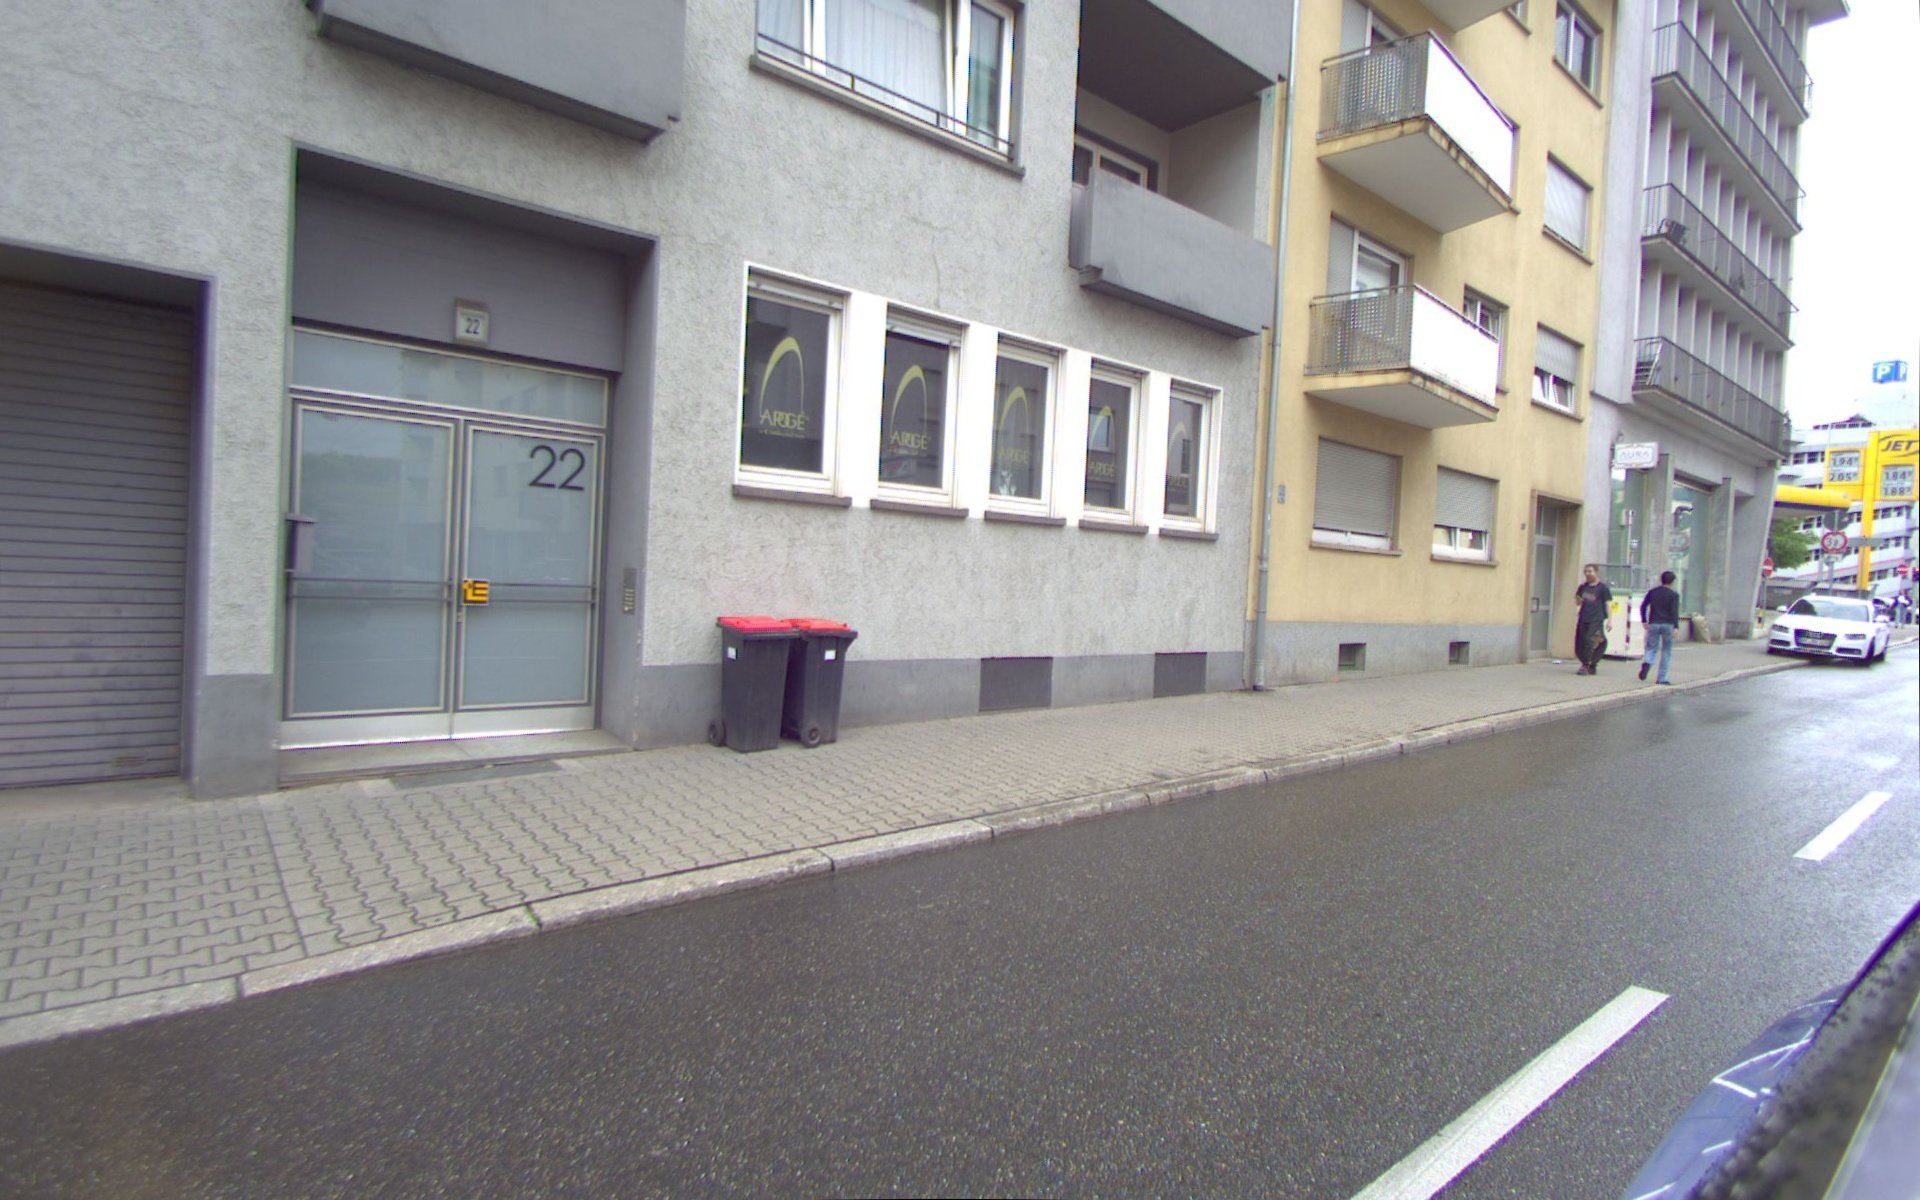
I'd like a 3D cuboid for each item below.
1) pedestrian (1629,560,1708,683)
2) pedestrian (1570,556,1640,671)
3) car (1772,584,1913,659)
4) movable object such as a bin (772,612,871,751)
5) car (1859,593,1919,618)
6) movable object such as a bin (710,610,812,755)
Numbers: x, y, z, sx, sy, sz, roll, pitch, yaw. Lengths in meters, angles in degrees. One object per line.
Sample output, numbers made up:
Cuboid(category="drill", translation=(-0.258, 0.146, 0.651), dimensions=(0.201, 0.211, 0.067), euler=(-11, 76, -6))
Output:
Cuboid(category="pedestrian", translation=(10.933, 0.311, 15.619), dimensions=(1.038, 1.799, 0.644), euler=(0, 5, -41))
Cuboid(category="pedestrian", translation=(10.412, 0.195, 16.340), dimensions=(0.873, 1.777, 0.678), euler=(0, 3, -42))
Cuboid(category="car", translation=(20.121, 0.423, 23.013), dimensions=(4.093, 1.453, 1.803), euler=(0, 4, -41))
Cuboid(category="movable object such as a bin", translation=(-1.070, 0.604, 7.792), dimensions=(0.506, 0.961, 0.541), euler=(0, 5, -40))
Cuboid(category="car", translation=(55.308, 0.300, 58.981), dimensions=(1.737, 1.463, 4.003), euler=(0, 0, -30))
Cuboid(category="movable object such as a bin", translation=(-1.467, 0.581, 7.445), dimensions=(0.506, 0.967, 0.541), euler=(0, 5, -40))
